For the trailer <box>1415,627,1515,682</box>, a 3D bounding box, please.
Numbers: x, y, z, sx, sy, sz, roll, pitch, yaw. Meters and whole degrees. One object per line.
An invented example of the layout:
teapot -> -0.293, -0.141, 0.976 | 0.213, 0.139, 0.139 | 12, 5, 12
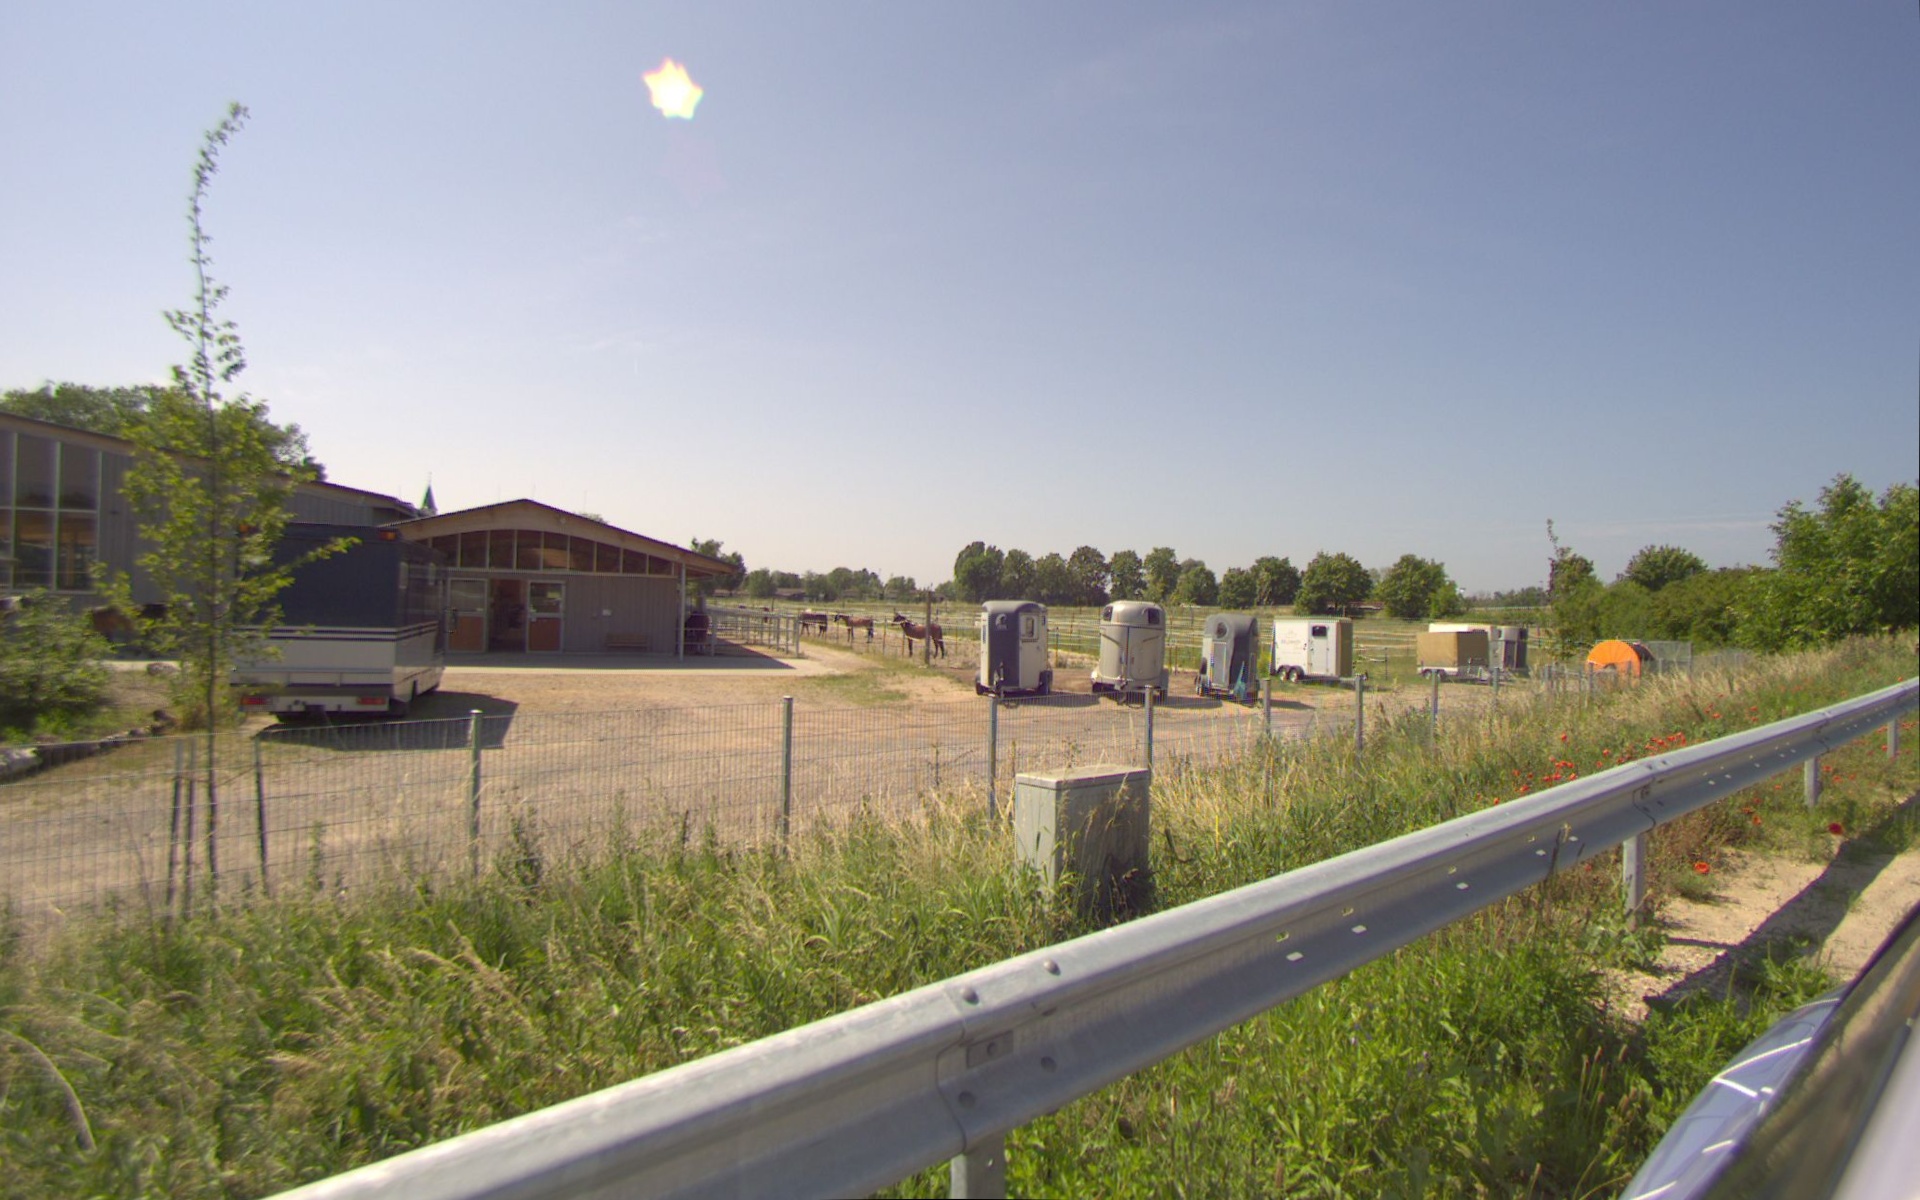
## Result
trailer -> 23.167, 2.458, 46.615 | 1.965, 2.422, 4.099 | 1, -2, -11

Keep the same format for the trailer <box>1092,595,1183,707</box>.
trailer -> 5.058, 1.359, 29.517 | 2.196, 2.900, 5.035 | 2, 0, 7

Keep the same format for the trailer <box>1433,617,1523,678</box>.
trailer -> 25.596, 2.291, 50.083 | 2.119, 2.841, 3.427 | 1, 0, -20

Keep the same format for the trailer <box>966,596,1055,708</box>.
trailer -> 1.504, 1.340, 28.553 | 2.138, 2.703, 4.473 | 2, 2, 7

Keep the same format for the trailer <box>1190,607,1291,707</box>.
trailer -> 8.451, 1.625, 30.894 | 1.793, 2.662, 4.549 | 5, 0, 3

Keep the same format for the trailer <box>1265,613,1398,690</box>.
trailer -> 14.592, 1.960, 40.121 | 2.162, 2.722, 5.199 | 2, -1, -18

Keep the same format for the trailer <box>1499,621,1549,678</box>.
trailer -> 30.277, 2.664, 54.405 | 1.979, 2.841, 3.348 | 2, -2, 25

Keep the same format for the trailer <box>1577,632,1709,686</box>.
trailer -> 33.959, 2.883, 50.354 | 5.925, 2.410, 2.586 | 0, 0, -22

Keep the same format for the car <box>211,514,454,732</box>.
car -> -12.987, 0.407, 21.861 | 2.721, 3.699, 9.014 | 2, 0, -21
